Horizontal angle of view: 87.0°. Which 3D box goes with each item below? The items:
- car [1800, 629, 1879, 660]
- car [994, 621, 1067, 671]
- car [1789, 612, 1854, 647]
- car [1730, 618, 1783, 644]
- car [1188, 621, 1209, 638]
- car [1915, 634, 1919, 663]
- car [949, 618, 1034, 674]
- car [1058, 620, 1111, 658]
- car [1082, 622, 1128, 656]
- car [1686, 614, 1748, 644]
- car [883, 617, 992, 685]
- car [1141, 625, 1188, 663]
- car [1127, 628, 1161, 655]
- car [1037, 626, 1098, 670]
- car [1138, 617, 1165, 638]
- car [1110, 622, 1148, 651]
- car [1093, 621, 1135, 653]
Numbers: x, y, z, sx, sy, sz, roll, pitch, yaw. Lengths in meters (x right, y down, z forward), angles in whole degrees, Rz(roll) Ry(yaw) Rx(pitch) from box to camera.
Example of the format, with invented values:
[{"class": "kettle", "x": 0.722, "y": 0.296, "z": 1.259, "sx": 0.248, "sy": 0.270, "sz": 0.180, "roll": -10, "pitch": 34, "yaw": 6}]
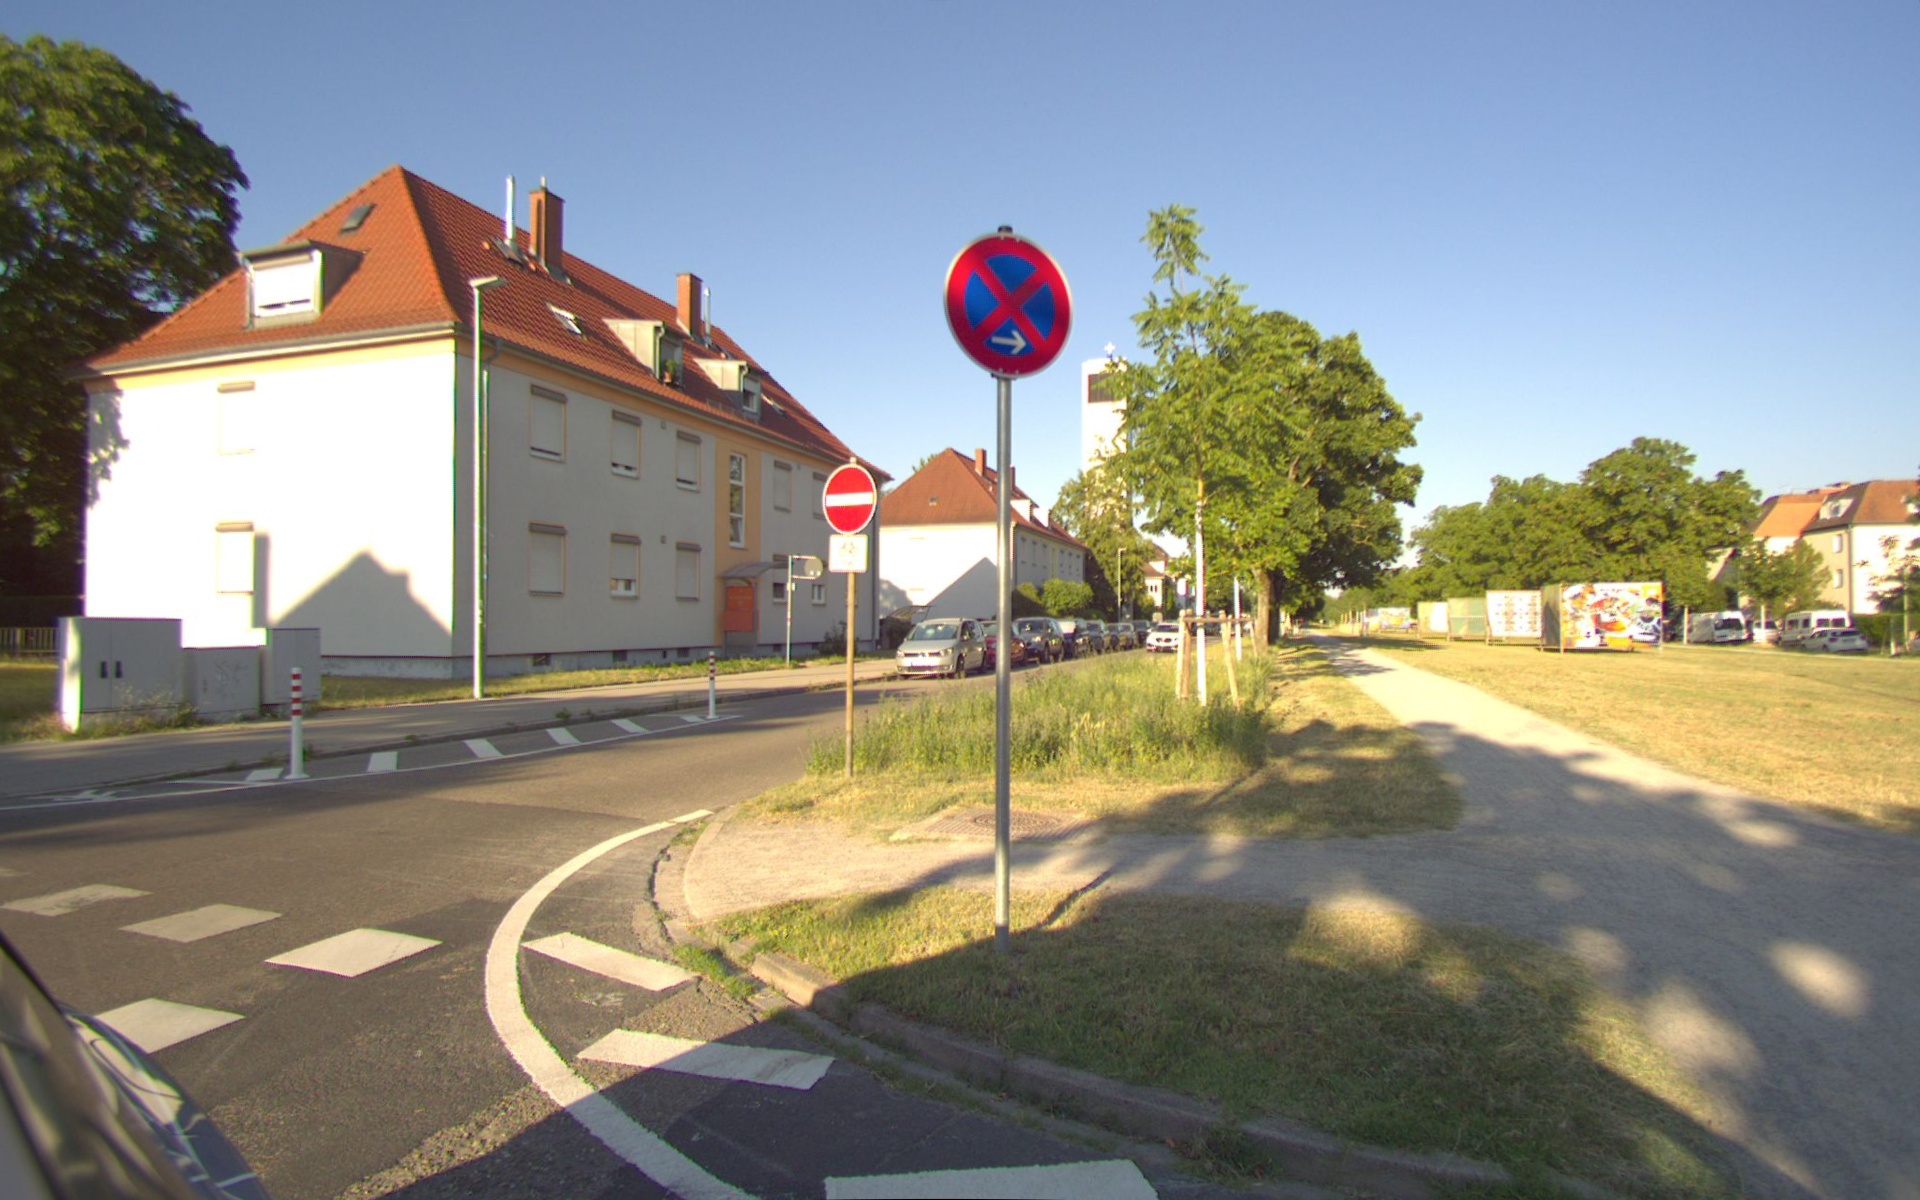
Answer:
[{"class": "car", "x": 46.963, "y": 2.350, "z": 54.131, "sx": 1.812, "sy": 1.592, "sz": 3.812, "roll": 0, "pitch": -1, "yaw": 19}, {"class": "car", "x": 2.687, "y": 1.683, "z": 37.617, "sx": 1.835, "sy": 1.708, "sz": 3.978, "roll": -2, "pitch": -2, "yaw": 17}, {"class": "car", "x": 57.070, "y": 1.927, "z": 67.110, "sx": 1.986, "sy": 2.230, "sz": 4.101, "roll": -1, "pitch": -1, "yaw": 21}, {"class": "car", "x": 60.309, "y": 2.332, "z": 76.678, "sx": 1.986, "sy": 1.960, "sz": 4.101, "roll": -1, "pitch": -1, "yaw": 21}, {"class": "car", "x": 25.081, "y": 3.051, "z": 106.206, "sx": 1.835, "sy": 1.708, "sz": 3.978, "roll": -2, "pitch": -2, "yaw": 17}, {"class": "car", "x": 52.908, "y": 2.599, "z": 53.660, "sx": 1.812, "sy": 1.592, "sz": 3.942, "roll": 0, "pitch": -1, "yaw": 19}, {"class": "car", "x": 1.111, "y": 1.490, "z": 33.386, "sx": 1.835, "sy": 1.708, "sz": 3.978, "roll": -2, "pitch": -2, "yaw": 17}, {"class": "car", "x": 5.988, "y": 1.846, "z": 48.447, "sx": 1.835, "sy": 1.708, "sz": 3.978, "roll": -2, "pitch": -2, "yaw": 17}, {"class": "car", "x": 7.677, "y": 2.025, "z": 53.349, "sx": 1.835, "sy": 1.708, "sz": 3.978, "roll": -2, "pitch": -2, "yaw": 17}, {"class": "car", "x": 51.421, "y": 1.979, "z": 68.837, "sx": 2.213, "sy": 1.960, "sz": 4.476, "roll": -1, "pitch": -1, "yaw": 21}, {"class": "car", "x": -0.526, "y": 1.353, "z": 27.837, "sx": 1.835, "sy": 1.708, "sz": 3.978, "roll": -2, "pitch": -2, "yaw": 17}, {"class": "car", "x": 10.118, "y": 2.134, "z": 49.851, "sx": 1.855, "sy": 1.708, "sz": 4.277, "roll": -2, "pitch": -2, "yaw": 17}, {"class": "car", "x": 12.396, "y": 2.762, "z": 67.979, "sx": 1.792, "sy": 1.730, "sz": 3.324, "roll": 1, "pitch": -1, "yaw": 18}, {"class": "car", "x": 4.576, "y": 1.989, "z": 42.763, "sx": 1.835, "sy": 1.708, "sz": 3.978, "roll": -2, "pitch": -2, "yaw": 17}, {"class": "car", "x": 16.786, "y": 2.390, "z": 88.477, "sx": 1.835, "sy": 1.708, "sz": 3.978, "roll": -2, "pitch": -2, "yaw": 17}, {"class": "car", "x": 10.601, "y": 2.254, "z": 63.244, "sx": 1.835, "sy": 1.708, "sz": 3.978, "roll": -2, "pitch": -2, "yaw": 17}, {"class": "car", "x": 8.952, "y": 2.124, "z": 58.577, "sx": 1.835, "sy": 1.708, "sz": 3.978, "roll": -2, "pitch": -2, "yaw": 17}]
